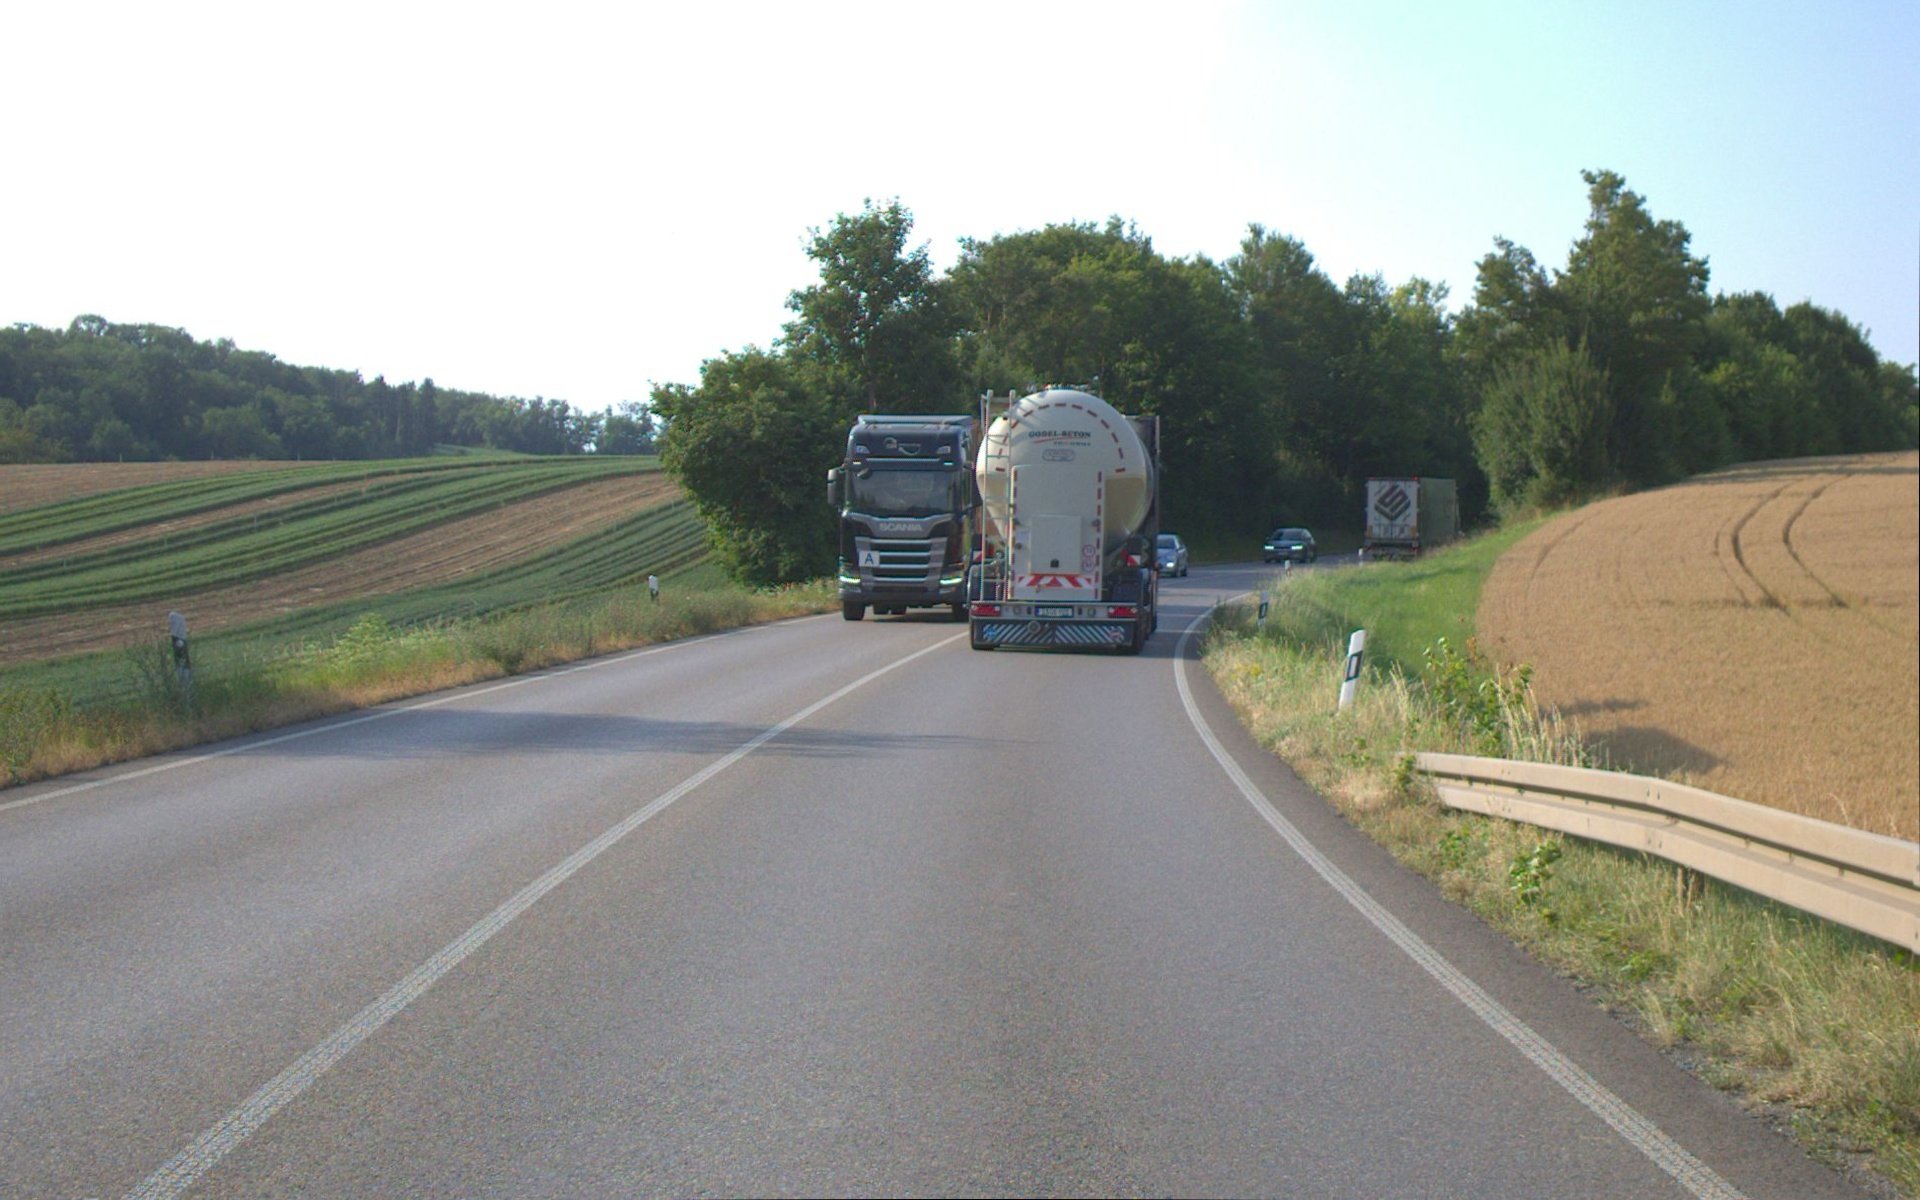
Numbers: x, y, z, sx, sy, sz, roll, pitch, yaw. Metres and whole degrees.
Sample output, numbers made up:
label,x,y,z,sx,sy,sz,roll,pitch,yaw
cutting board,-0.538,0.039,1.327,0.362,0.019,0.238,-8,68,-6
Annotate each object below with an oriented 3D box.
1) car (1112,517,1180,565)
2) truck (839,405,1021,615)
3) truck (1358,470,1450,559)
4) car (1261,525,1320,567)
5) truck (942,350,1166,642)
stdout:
label,x,y,z,sx,sy,sz,roll,pitch,yaw
car,6.644,-2.113,122.679,1.976,1.645,4.361,0,2,9
truck,-0.477,-1.820,69.382,2.389,3.907,10.158,0,2,7
truck,21.973,-4.245,169.537,3.185,4.213,13.165,0,2,13
car,15.423,-2.534,160.356,1.902,1.765,4.489,0,4,17
truck,1.729,-1.582,55.599,2.893,4.128,13.170,1,1,4
